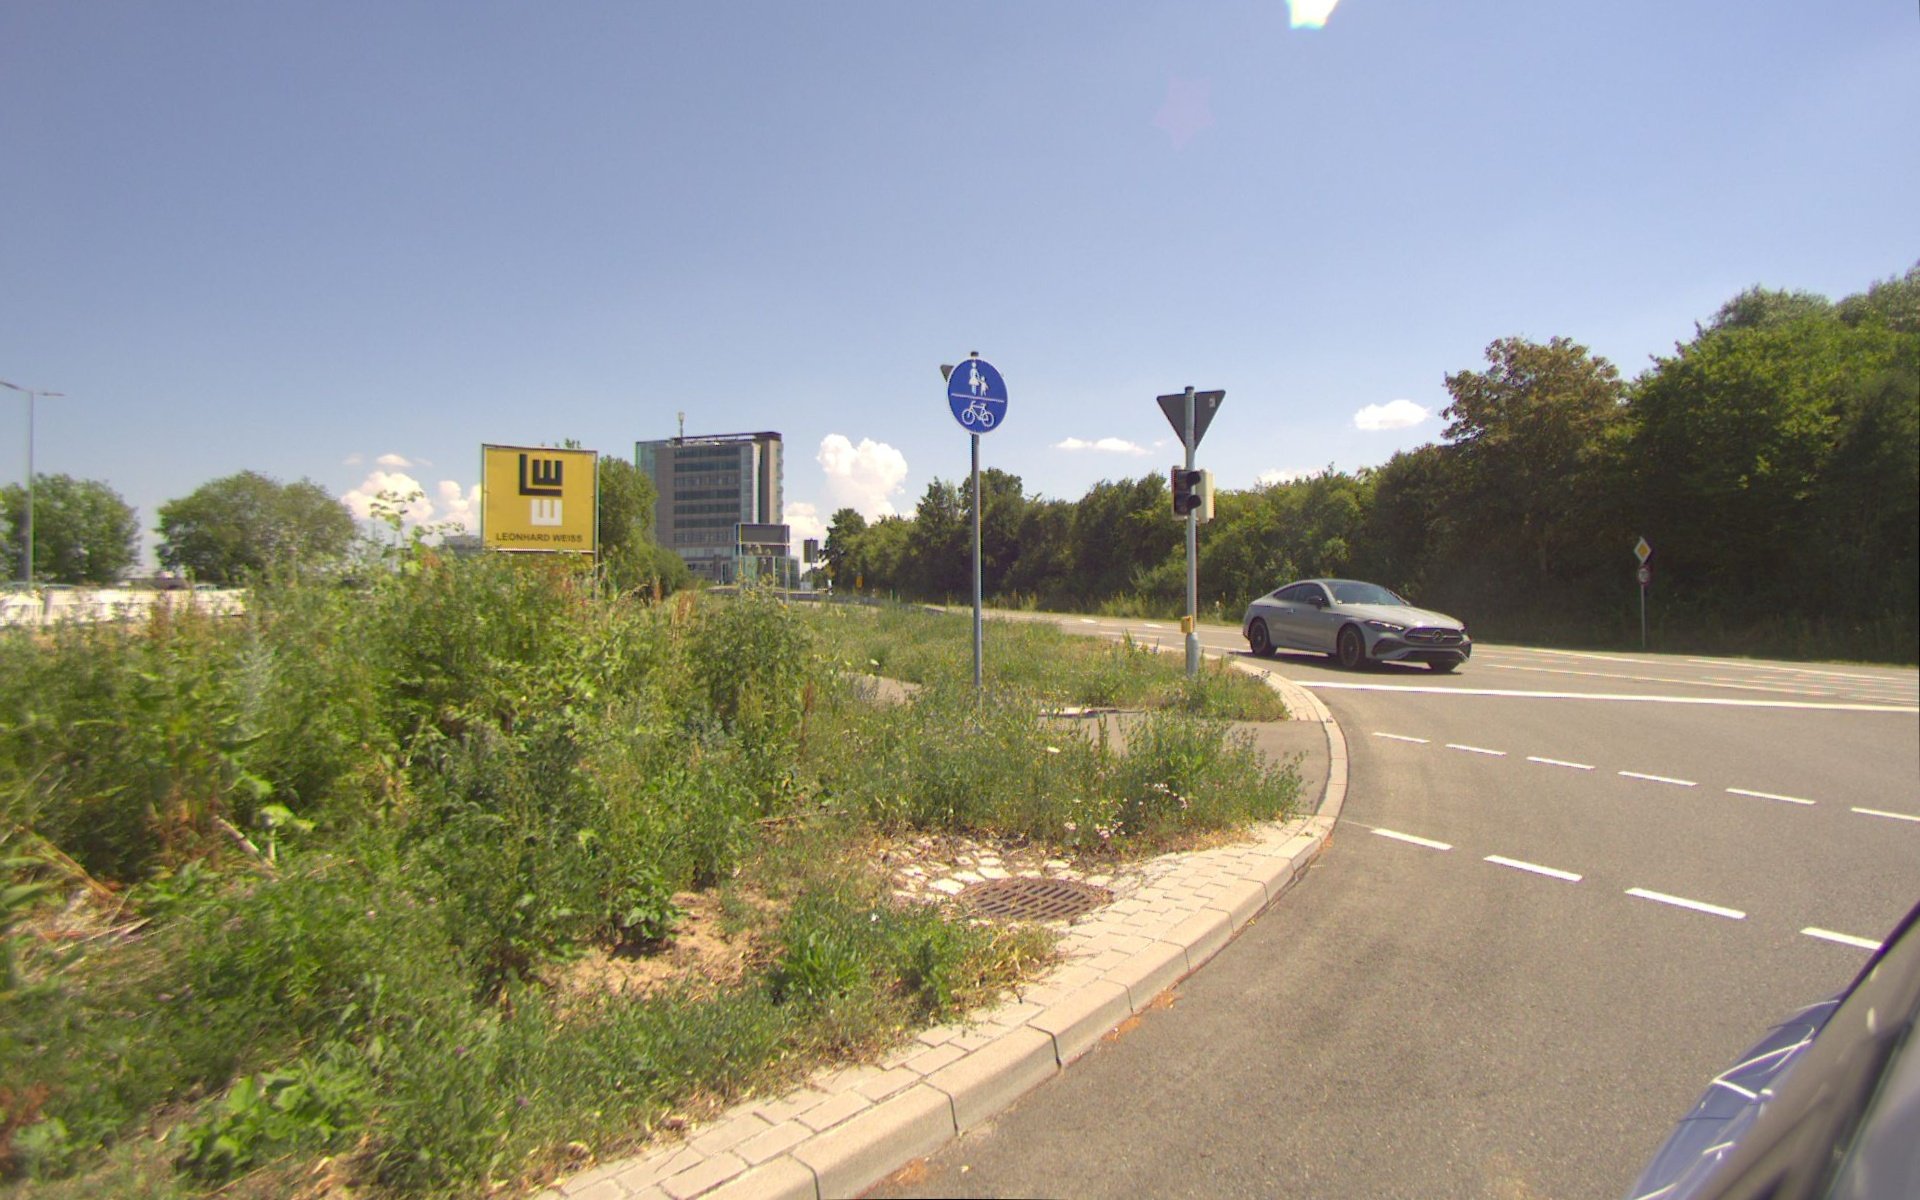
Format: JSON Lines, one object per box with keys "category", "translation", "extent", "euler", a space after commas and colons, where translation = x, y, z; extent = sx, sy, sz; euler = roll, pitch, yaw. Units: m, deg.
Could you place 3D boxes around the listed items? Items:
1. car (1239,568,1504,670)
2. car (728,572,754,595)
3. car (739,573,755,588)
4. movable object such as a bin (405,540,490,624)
{"category": "car", "translation": [6.754, 0.247, 17.253], "extent": [1.883, 1.460, 4.491], "euler": [2, 1, -13]}
{"category": "car", "translation": [-21.650, -1.643, 100.042], "extent": [1.958, 2.038, 4.010], "euler": [1, 2, -19]}
{"category": "car", "translation": [-30.323, -2.791, 144.139], "extent": [1.959, 2.038, 4.006], "euler": [2, 2, -7]}
{"category": "movable object such as a bin", "translation": [-27.100, -1.030, 53.848], "extent": [2.925, 4.094, 8.125], "euler": [2, 2, -19]}
